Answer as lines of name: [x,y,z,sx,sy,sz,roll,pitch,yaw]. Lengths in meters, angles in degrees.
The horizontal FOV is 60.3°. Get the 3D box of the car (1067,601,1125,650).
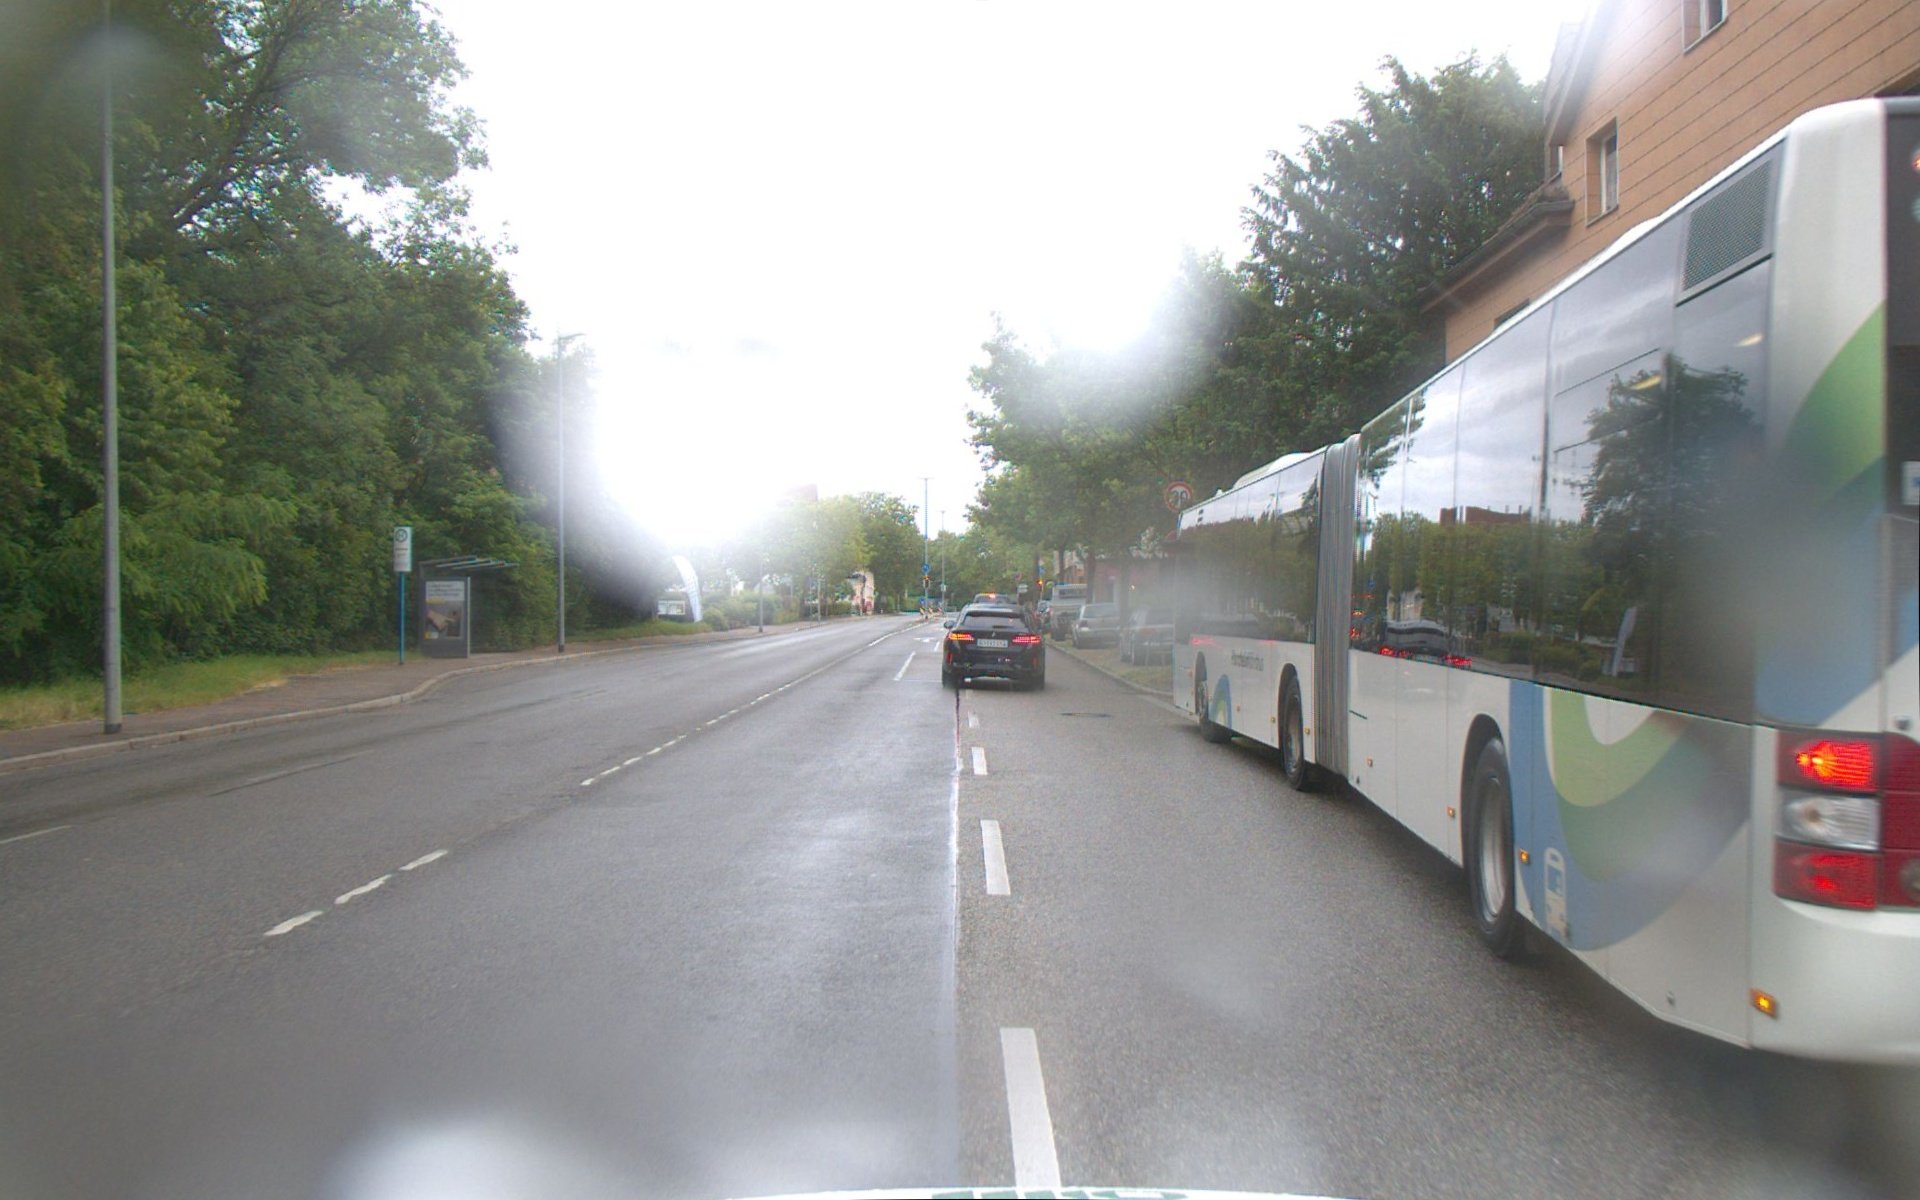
car: [4.451,0.811,54.531,1.568,1.461,4.022,-3,0,1]

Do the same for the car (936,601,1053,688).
car: [0.586,0.804,31.319,2.022,1.472,4.482,2,-1,-1]

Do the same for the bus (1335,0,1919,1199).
bus: [3.625,0.028,7.882,2.501,3.011,8.562,1,0,6]

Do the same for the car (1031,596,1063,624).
car: [4.830,0.557,92.398,1.551,1.517,3.627,-1,0,-1]

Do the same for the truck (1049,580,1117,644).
truck: [4.710,0.466,64.284,2.038,2.260,6.500,-2,0,0]

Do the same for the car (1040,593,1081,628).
car: [4.640,0.505,76.919,1.679,1.525,4.184,-2,0,1]

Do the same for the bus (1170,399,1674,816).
bus: [3.984,0.081,16.835,2.504,3.011,9.449,1,0,0]

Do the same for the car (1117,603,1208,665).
car: [4.952,0.808,40.991,1.653,1.414,4.499,-1,0,0]

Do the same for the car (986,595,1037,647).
car: [1.885,0.756,61.490,1.747,1.849,3.999,1,0,0]
